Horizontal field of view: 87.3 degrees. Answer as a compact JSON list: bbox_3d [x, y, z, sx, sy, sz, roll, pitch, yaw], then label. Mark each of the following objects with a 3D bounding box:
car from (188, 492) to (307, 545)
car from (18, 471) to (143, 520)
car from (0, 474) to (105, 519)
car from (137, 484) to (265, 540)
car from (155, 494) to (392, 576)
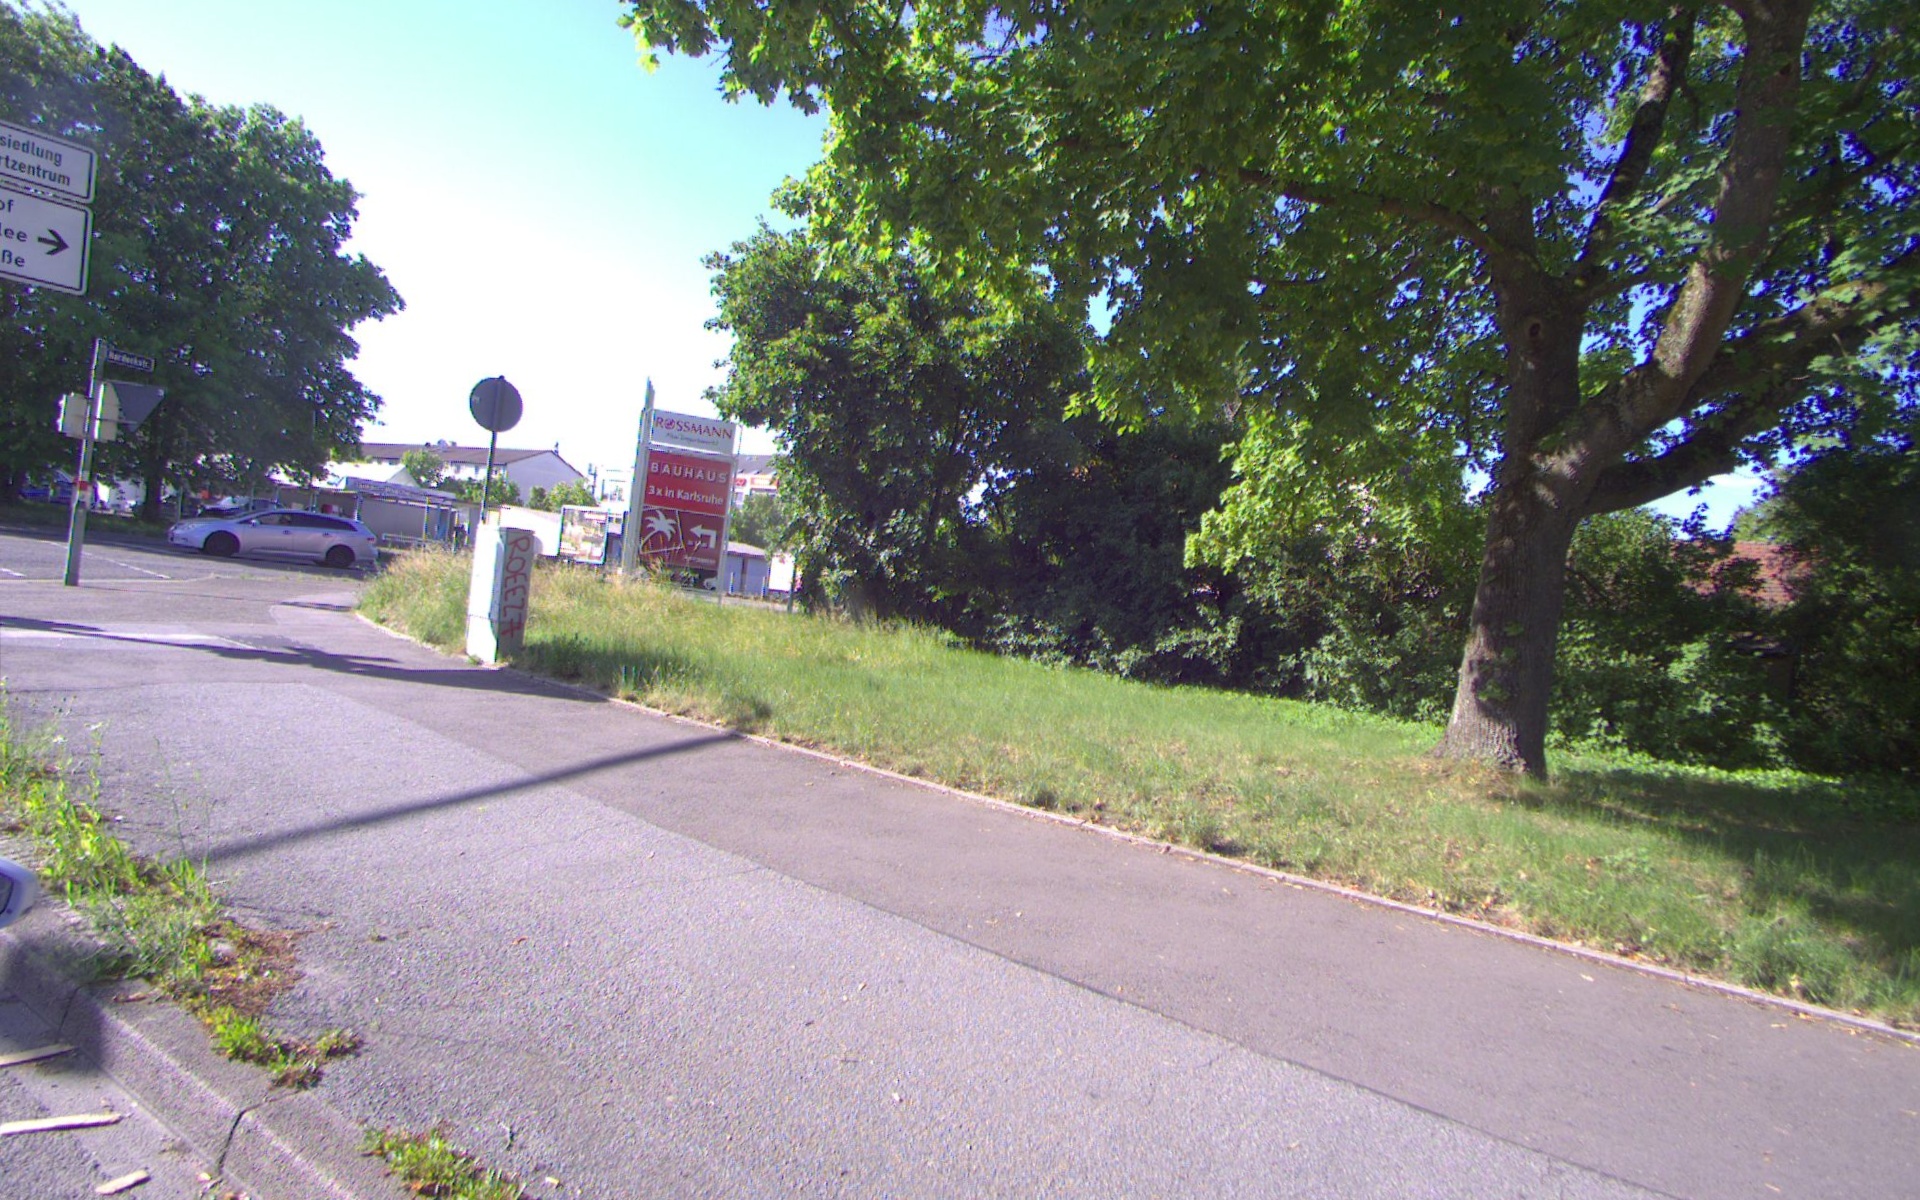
[{"bbox_3d":[-30.298,-3.423,42.927,1.712,1.701,4.001,7,0,9],"label":"car"},{"bbox_3d":[-39.182,-4.623,44.942,1.712,1.537,3.902,7,0,9],"label":"car"},{"bbox_3d":[-41.992,-4.764,46.166,1.712,1.537,3.902,7,0,9],"label":"car"},{"bbox_3d":[-32.343,-3.725,43.009,1.962,1.772,4.001,7,0,9],"label":"car"},{"bbox_3d":[-18.649,-1.731,27.537,1.973,1.504,4.994,7,0,43],"label":"car"}]
